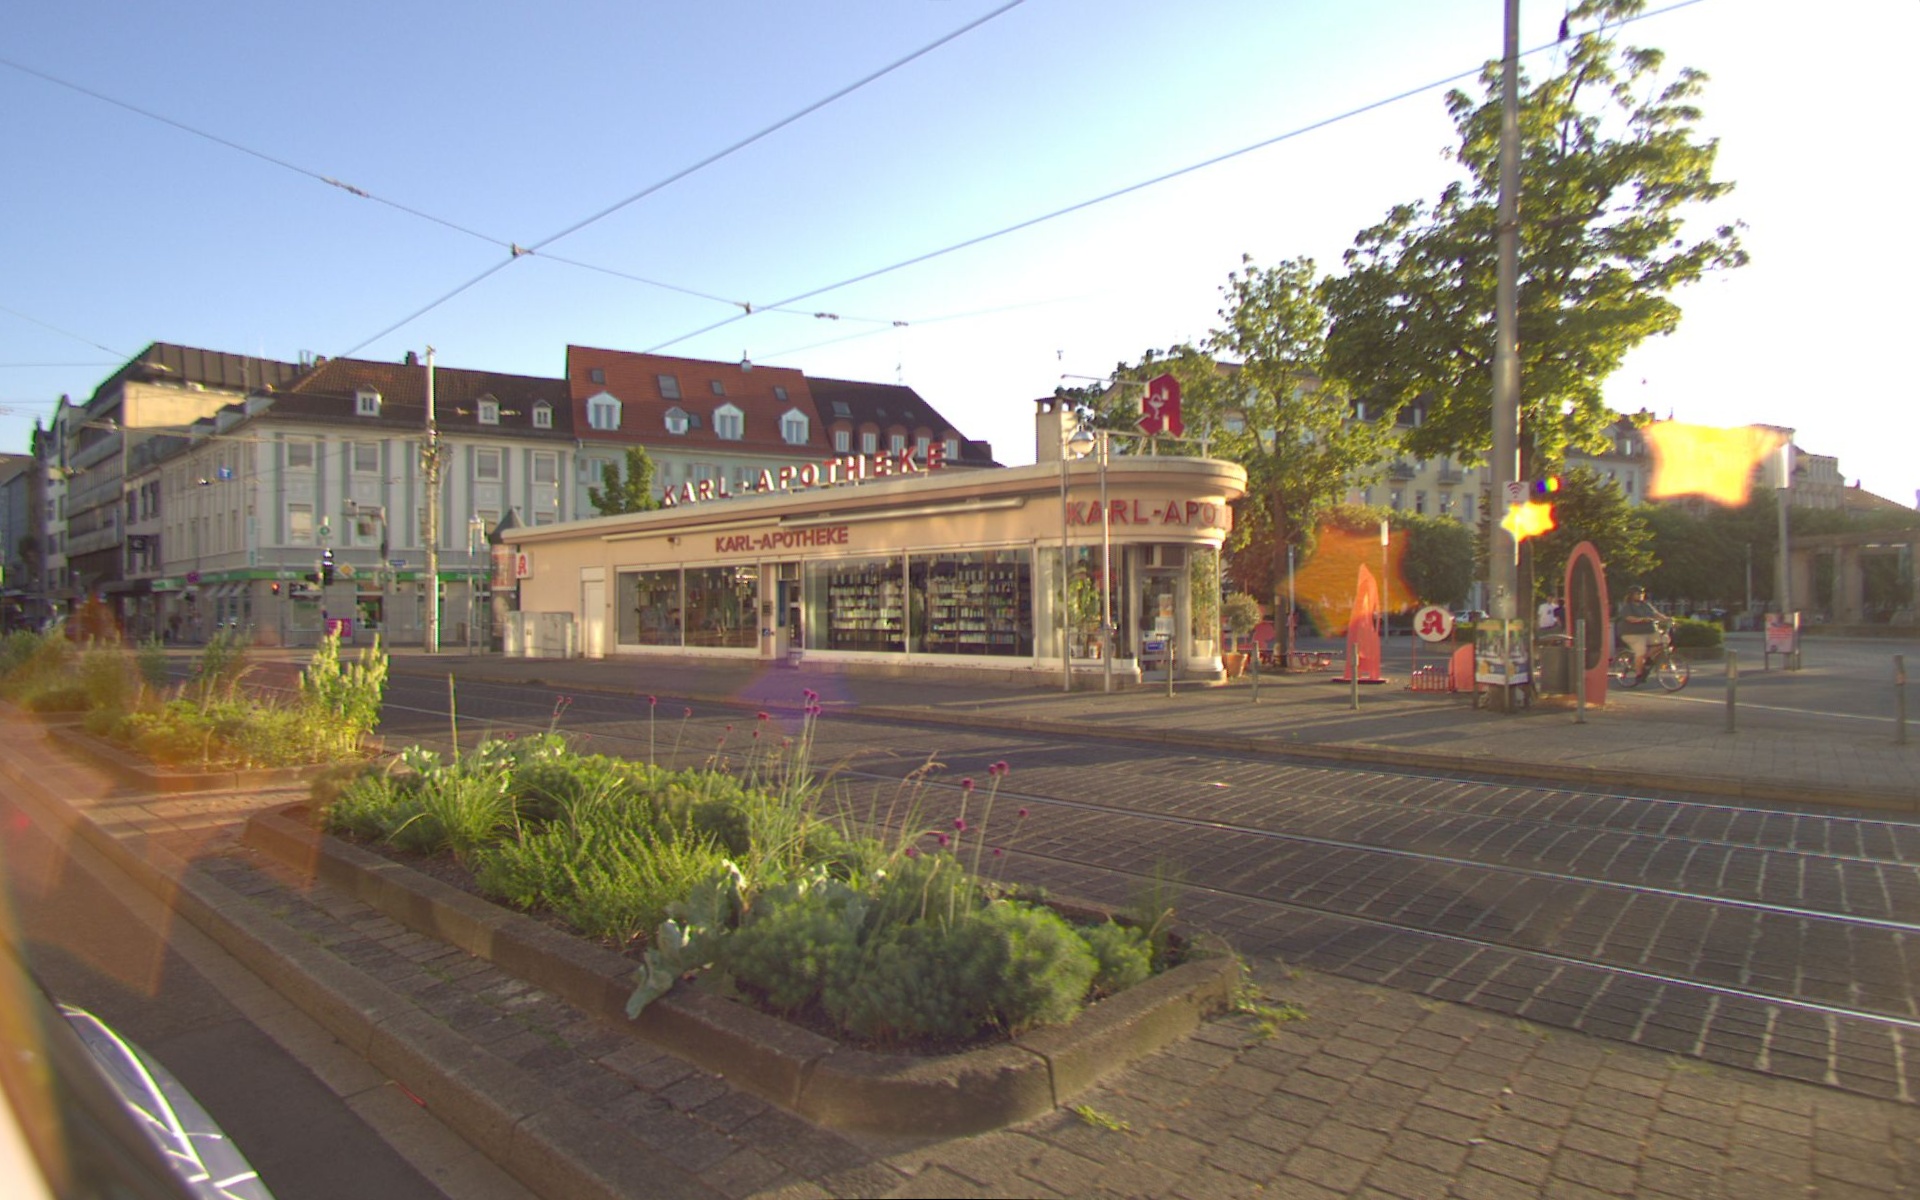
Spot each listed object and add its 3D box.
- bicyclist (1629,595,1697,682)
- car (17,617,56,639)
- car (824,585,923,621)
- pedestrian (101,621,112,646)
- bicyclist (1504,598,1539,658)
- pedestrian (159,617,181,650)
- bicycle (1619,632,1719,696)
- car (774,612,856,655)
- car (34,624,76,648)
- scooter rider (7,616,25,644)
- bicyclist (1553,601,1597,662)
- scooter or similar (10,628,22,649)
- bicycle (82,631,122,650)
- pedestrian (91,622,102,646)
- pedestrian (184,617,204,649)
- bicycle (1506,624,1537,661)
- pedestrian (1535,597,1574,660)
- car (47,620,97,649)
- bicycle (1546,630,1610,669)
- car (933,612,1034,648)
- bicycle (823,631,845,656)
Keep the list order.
[{"bbox_3d":[13.117,0.706,18.904,0.742,1.588,0.704,1,0,-8],"label":"bicyclist"},{"bbox_3d":[-71.956,2.176,78.838,3.998,1.569,1.796,1,0,41],"label":"car"},{"bbox_3d":[-4.086,0.105,47.427,4.676,1.577,1.780,1,0,39],"label":"car"},{"bbox_3d":[-62.017,2.444,73.564,0.600,1.747,0.509,1,0,41],"label":"pedestrian"},{"bbox_3d":[14.805,0.730,26.675,0.677,1.531,0.648,-1,-1,40],"label":"bicyclist"},{"bbox_3d":[-42.024,1.759,53.854,0.814,1.741,0.816,-1,0,-32],"label":"pedestrian"},{"bbox_3d":[13.144,1.155,18.814,0.488,1.120,1.714,1,-2,-7],"label":"bicycle"},{"bbox_3d":[-7.364,1.645,51.139,3.998,2.029,1.973,1,0,41],"label":"car"},{"bbox_3d":[-63.285,2.516,70.747,3.997,1.636,1.679,-2,-1,40],"label":"car"},{"bbox_3d":[-62.106,1.997,66.613,0.788,1.821,0.802,-1,-1,44],"label":"scooter rider"},{"bbox_3d":[15.794,0.795,26.006,0.665,1.531,0.659,0,-1,-22],"label":"bicyclist"},{"bbox_3d":[-62.138,2.528,66.617,1.670,1.361,0.538,-1,-1,45],"label":"scooter or similar"},{"bbox_3d":[-49.350,2.309,58.228,1.715,1.067,0.499,1,-3,-41],"label":"bicycle"},{"bbox_3d":[-62.401,2.465,73.127,0.583,1.697,0.503,0,0,40],"label":"pedestrian"},{"bbox_3d":[-40.740,1.742,53.829,0.814,1.653,0.816,-1,-1,-33],"label":"pedestrian"},{"bbox_3d":[14.758,1.096,26.581,0.425,0.922,1.510,1,0,40],"label":"bicycle"},{"bbox_3d":[16.043,0.760,27.315,0.666,1.688,0.659,1,0,-34],"label":"pedestrian"},{"bbox_3d":[-58.628,2.238,66.816,4.126,1.809,1.891,0,1,40],"label":"car"},{"bbox_3d":[15.838,1.261,25.968,0.418,0.922,1.432,1,0,-21],"label":"bicycle"},{"bbox_3d":[1.006,1.275,44.342,4.241,1.419,1.641,1,0,35],"label":"car"},{"bbox_3d":[-5.277,1.791,42.238,0.550,0.989,2.091,1,-2,-18],"label":"bicycle"}]
